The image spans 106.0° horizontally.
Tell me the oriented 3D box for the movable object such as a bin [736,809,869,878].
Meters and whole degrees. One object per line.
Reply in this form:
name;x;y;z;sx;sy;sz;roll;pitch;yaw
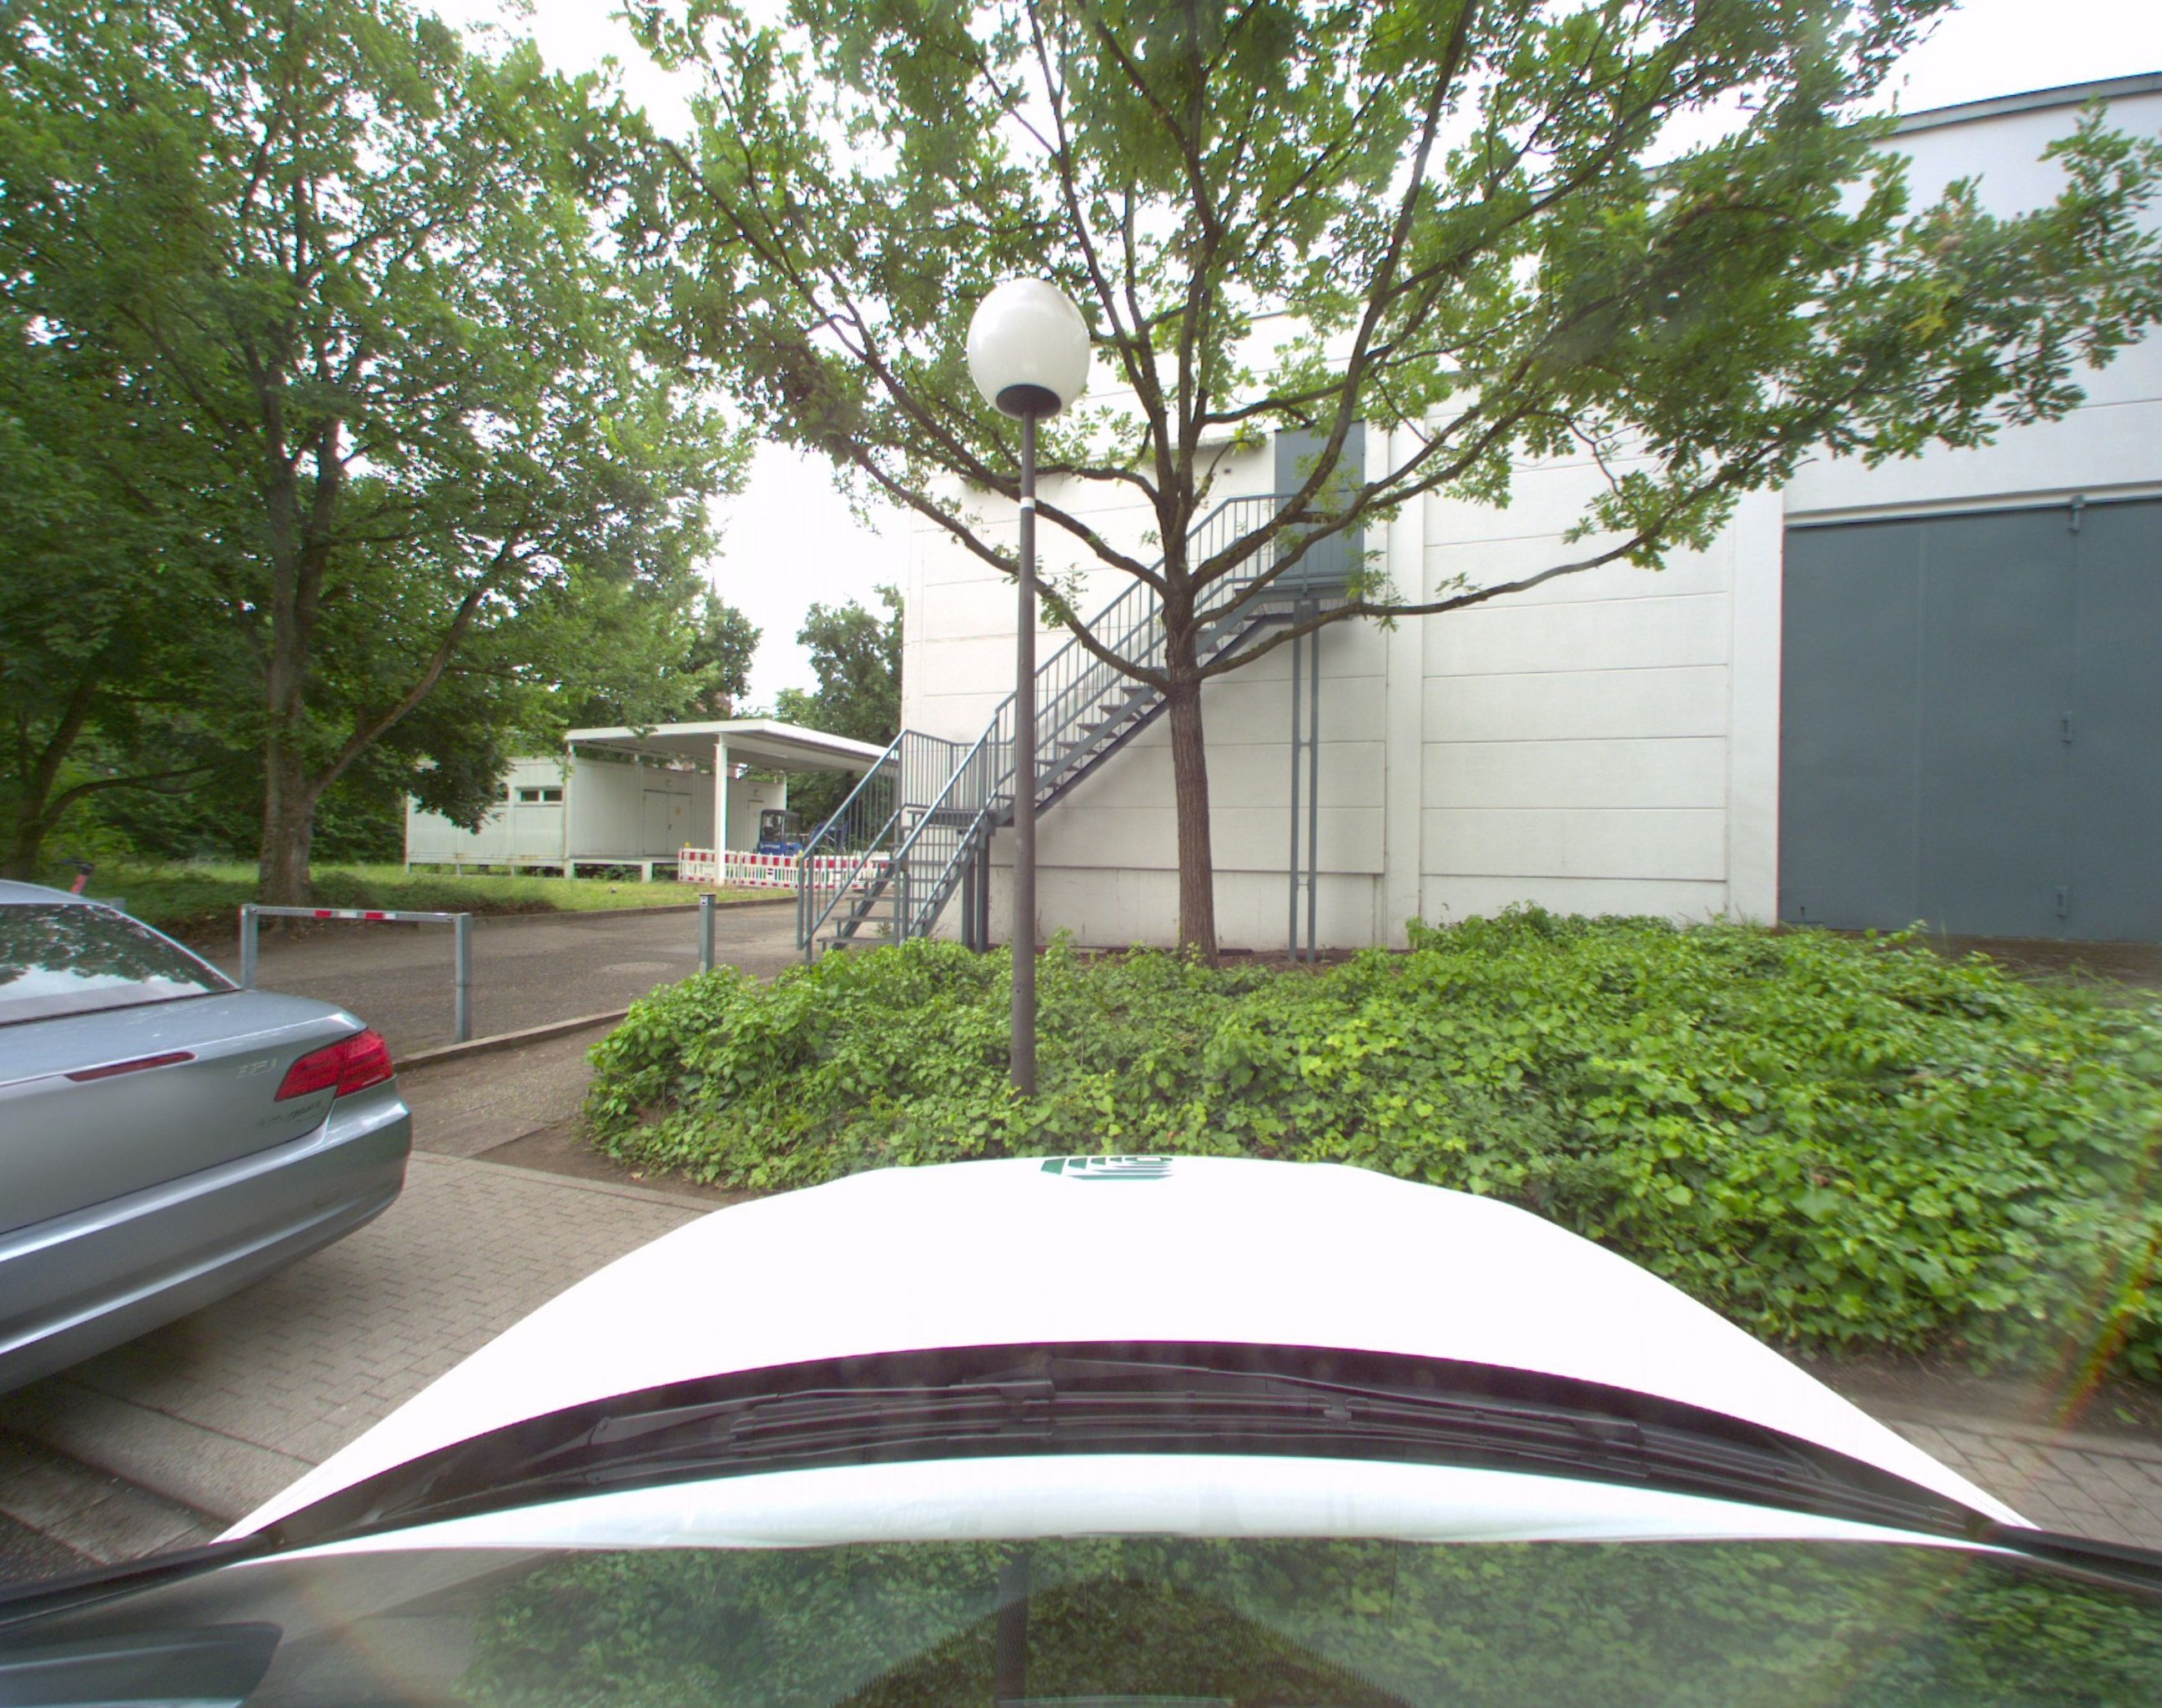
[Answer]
movable object such as a bin;-9.472;-0.285;28.182;1.979;2.172;4.688;1;-1;15

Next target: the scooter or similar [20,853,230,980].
scooter or similar;-9.761;0.608;8.374;1.310;1.210;0.446;1;0;-32

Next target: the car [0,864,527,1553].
car;-4.205;0.753;2.513;4.149;1.389;1.831;1;0;15
